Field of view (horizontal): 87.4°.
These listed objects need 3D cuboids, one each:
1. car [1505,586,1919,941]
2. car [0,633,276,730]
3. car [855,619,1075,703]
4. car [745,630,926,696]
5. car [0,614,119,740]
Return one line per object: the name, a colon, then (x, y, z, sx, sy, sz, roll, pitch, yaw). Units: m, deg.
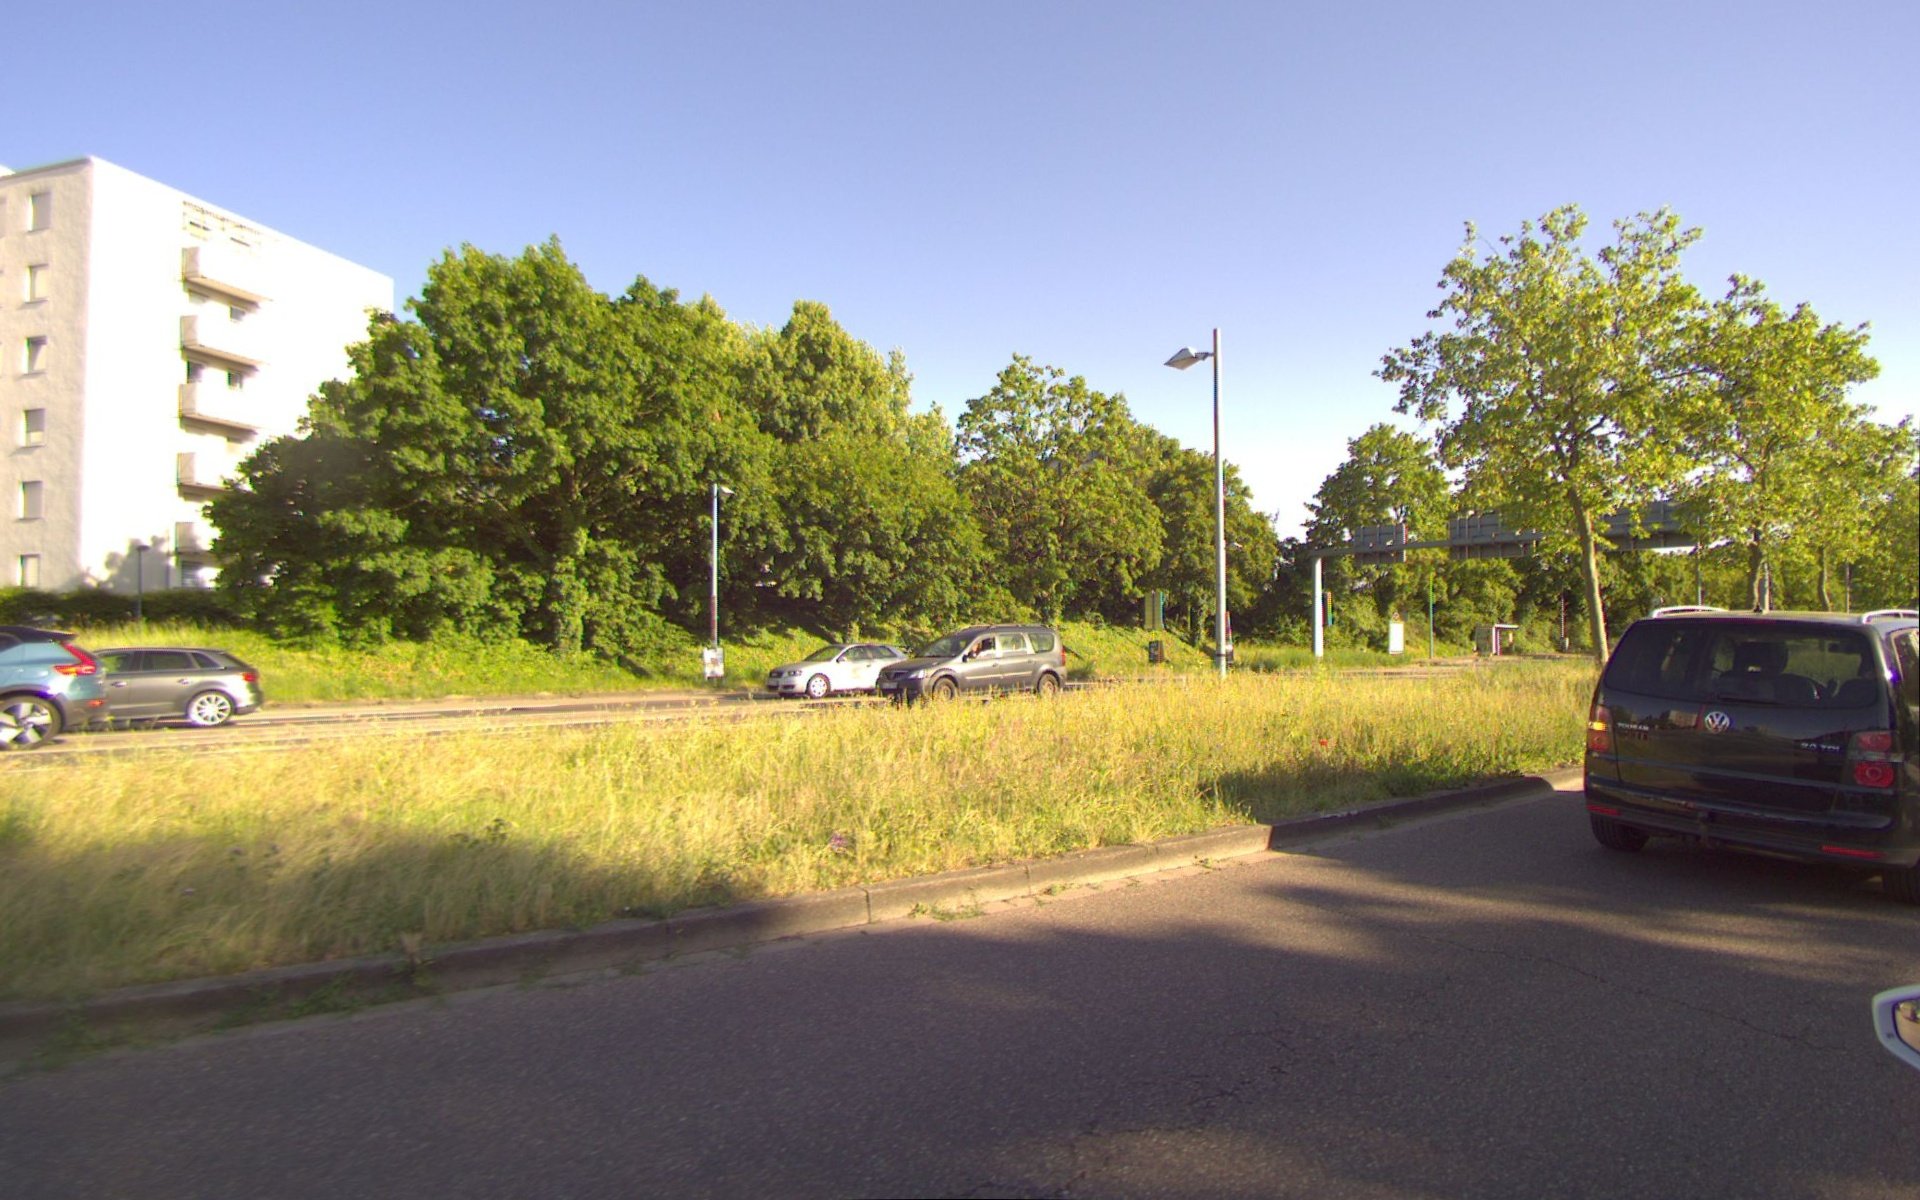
car: (5.837, 0.832, 6.862, 4.874, 1.665, 1.756, 1, -2, -35)
car: (-14.473, 1.337, 17.071, 4.529, 1.493, 1.883, 2, -4, -40)
car: (0.187, 1.259, 21.151, 4.529, 1.585, 1.883, 2, -4, -40)
car: (-3.273, 1.651, 26.911, 4.529, 1.631, 1.883, 2, -4, -40)
car: (-13.824, 1.008, 12.950, 4.529, 1.631, 1.883, 2, -4, -40)
